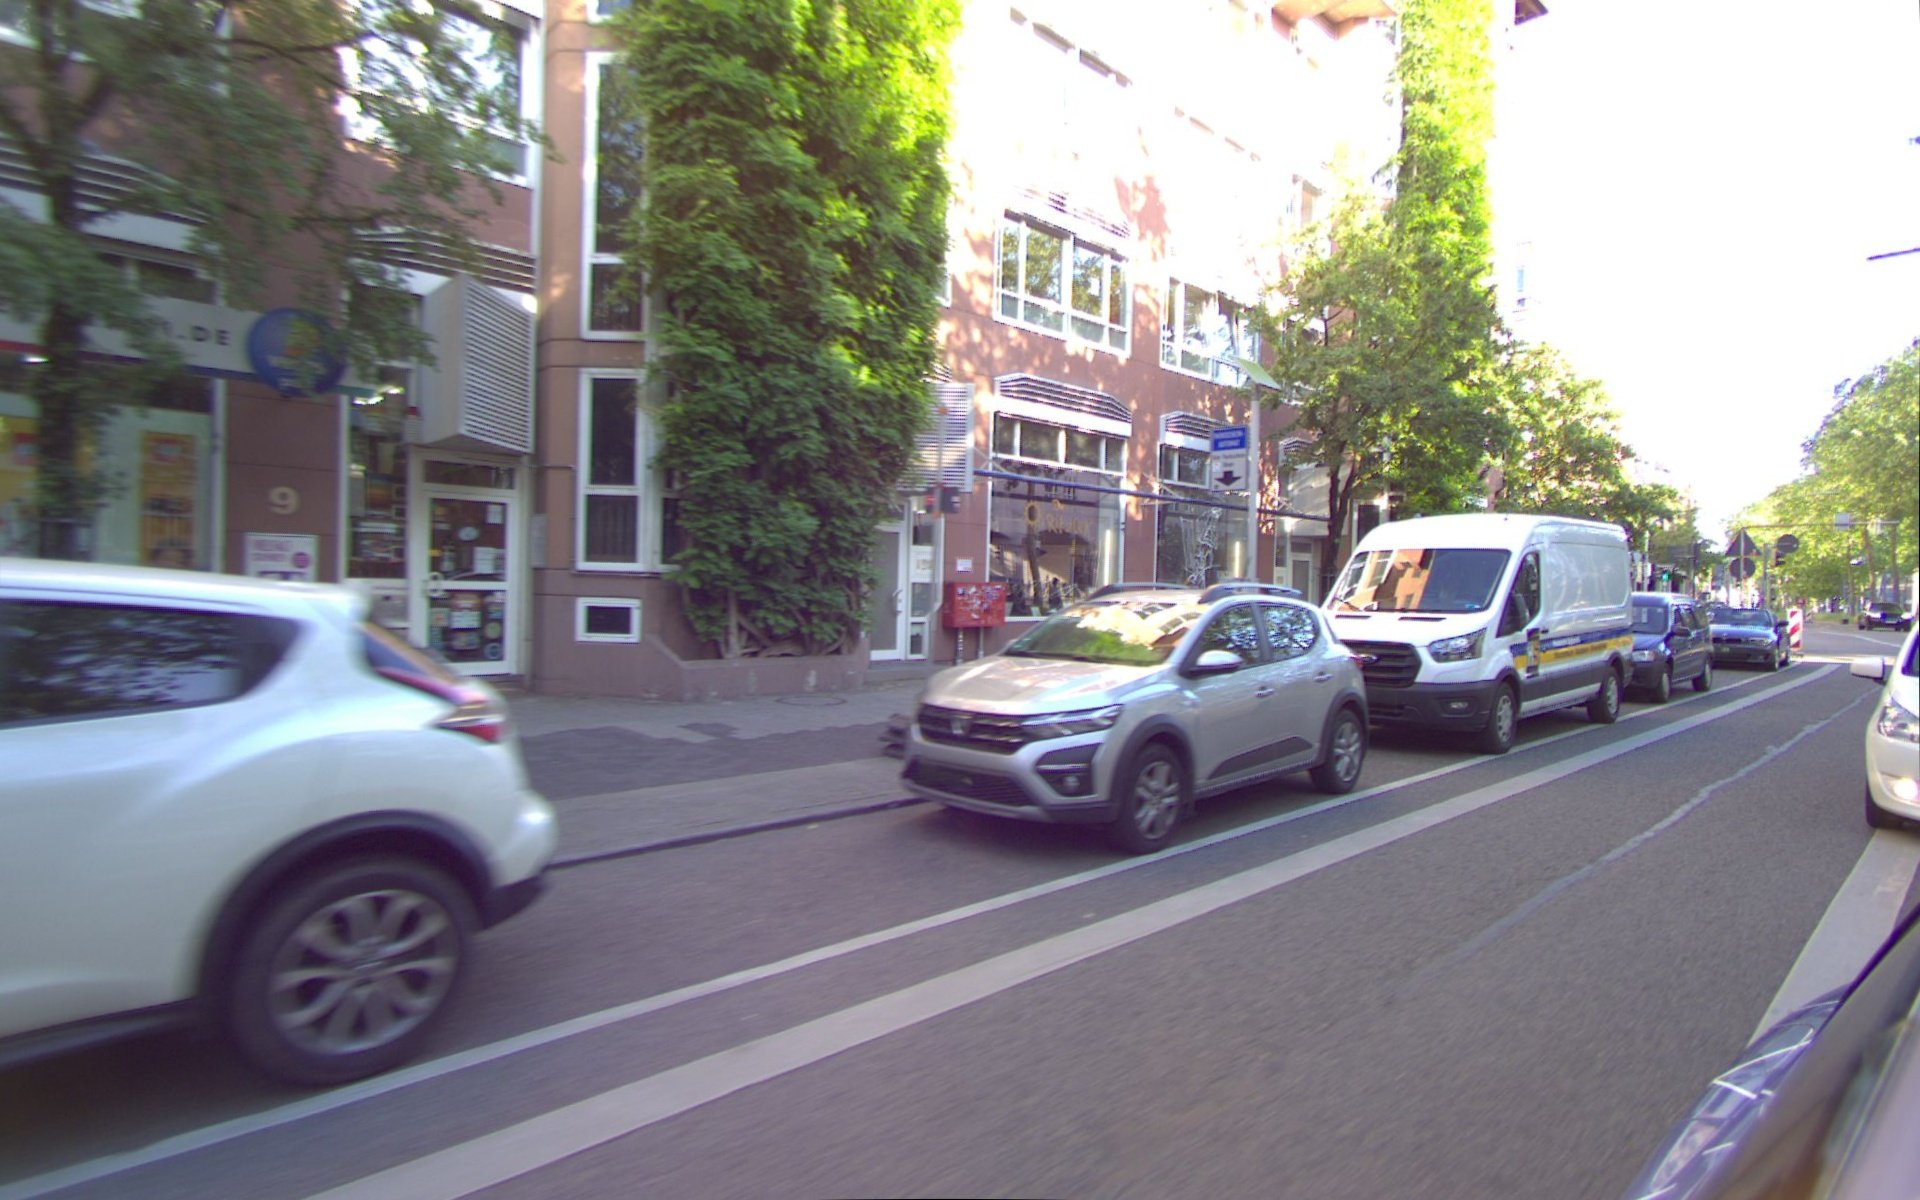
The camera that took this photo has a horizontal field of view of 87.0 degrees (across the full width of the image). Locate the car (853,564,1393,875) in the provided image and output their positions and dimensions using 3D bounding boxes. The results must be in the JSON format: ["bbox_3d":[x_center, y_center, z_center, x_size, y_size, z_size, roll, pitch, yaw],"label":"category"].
[{"bbox_3d":[1.352,0.584,7.240,3.934,1.598,1.830,0,1,-44],"label":"car"}]

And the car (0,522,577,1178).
[{"bbox_3d":[-3.350,0.590,2.750,3.934,1.598,1.830,0,1,-44],"label":"car"}]

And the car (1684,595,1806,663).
[{"bbox_3d":[17.762,0.591,22.834,1.804,1.347,3.929,2,1,43],"label":"car"}]

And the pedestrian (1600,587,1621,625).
[{"bbox_3d":[28.183,0.257,43.836,0.677,1.636,0.549,1,1,38],"label":"pedestrian"}]

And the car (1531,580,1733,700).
[{"bbox_3d":[10.872,0.532,16.242,4.402,1.647,1.805,0,1,-44],"label":"car"}]

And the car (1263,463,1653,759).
[{"bbox_3d":[5.963,0.062,11.648,5.806,2.597,2.117,0,1,-43],"label":"car"}]

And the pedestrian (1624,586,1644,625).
[{"bbox_3d":[28.753,0.238,43.172,0.677,1.636,0.549,1,1,38],"label":"pedestrian"}]

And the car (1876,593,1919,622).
[{"bbox_3d":[54.148,0.398,58.164,3.934,1.552,1.995,-1,0,-44],"label":"car"}]

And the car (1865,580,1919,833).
[{"bbox_3d":[7.650,0.645,7.124,1.804,1.519,4.135,2,1,43],"label":"car"}]
